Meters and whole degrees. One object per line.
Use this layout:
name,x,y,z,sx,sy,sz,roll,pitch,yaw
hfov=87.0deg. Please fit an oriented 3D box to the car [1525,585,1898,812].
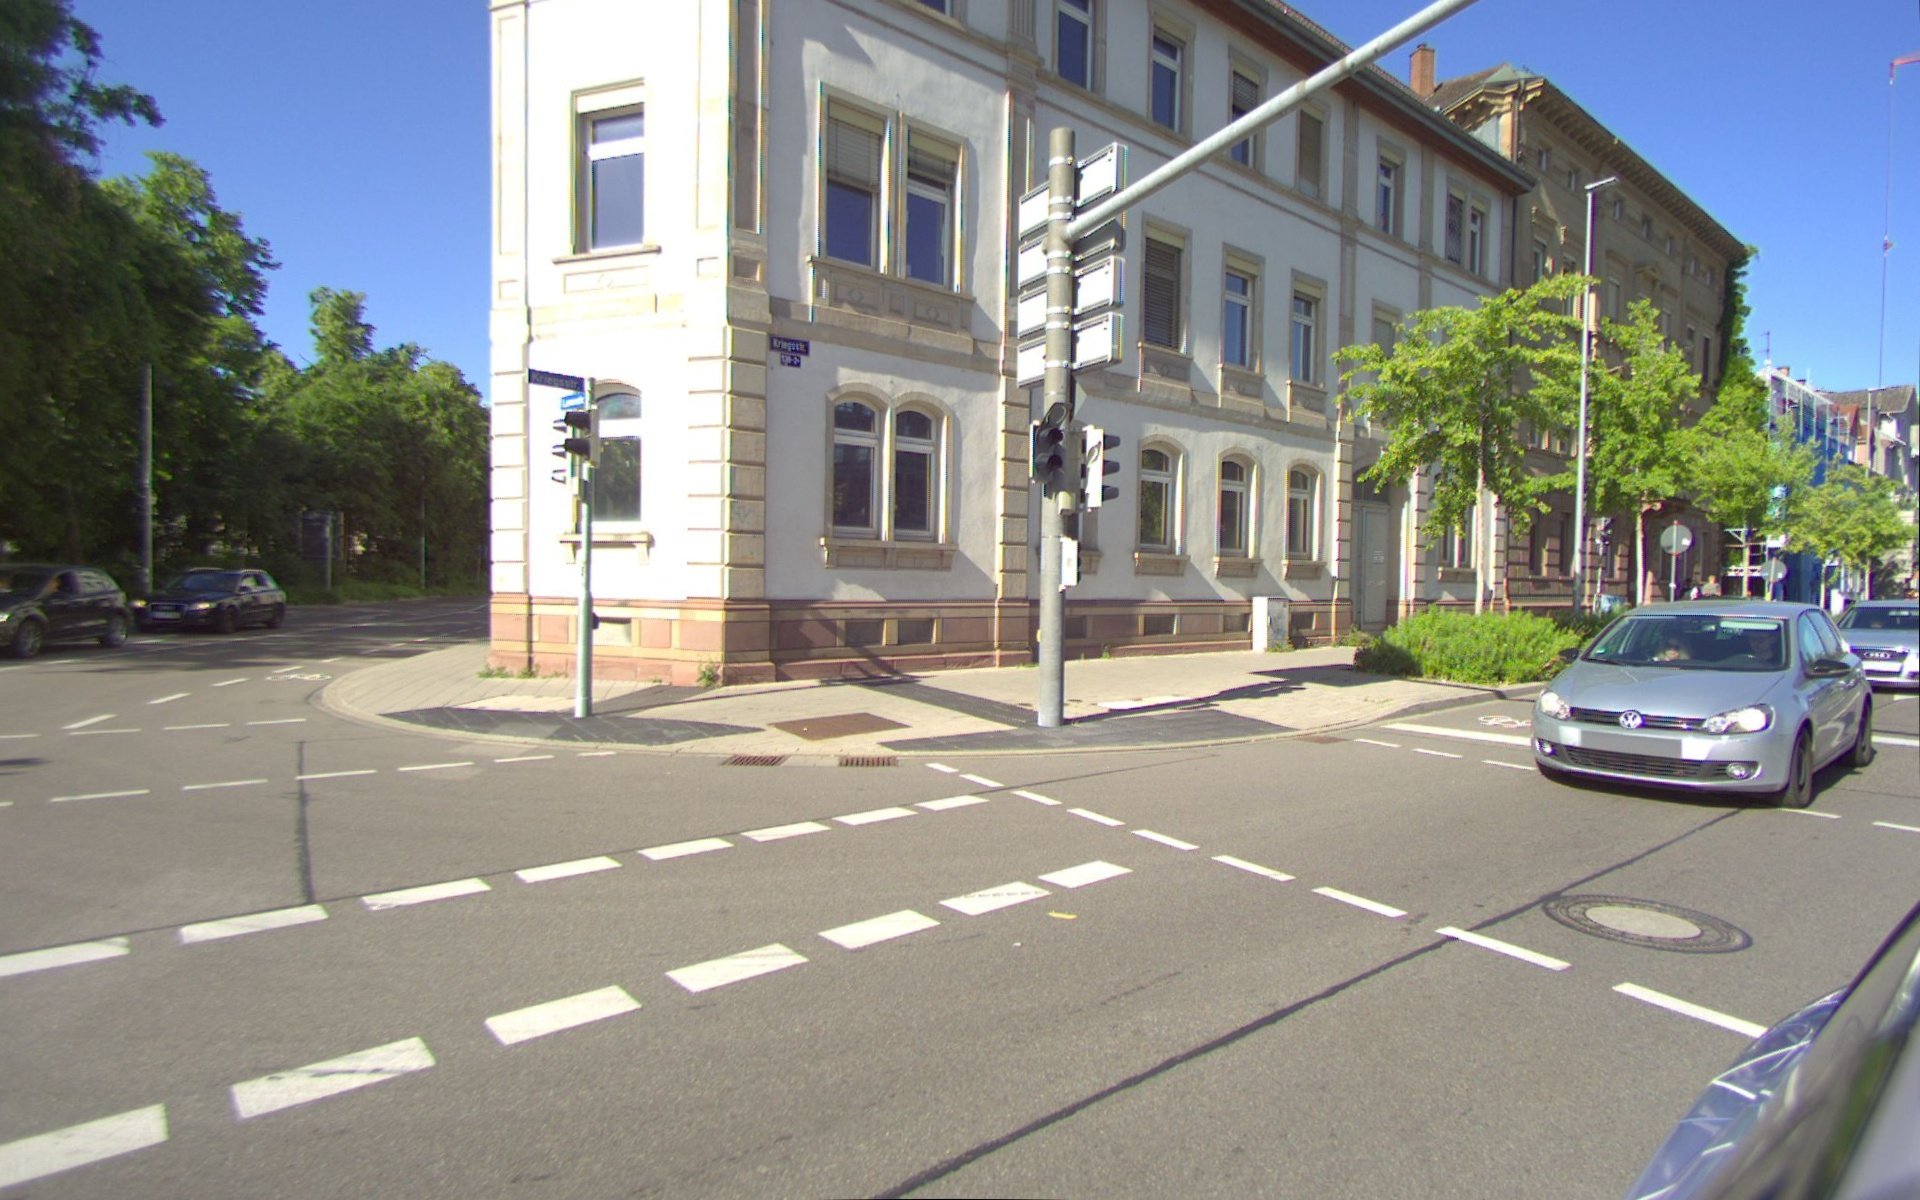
car,6.516,0.628,8.619,3.929,1.493,1.702,-1,1,-40

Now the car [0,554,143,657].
car,-15.439,0.016,16.601,1.696,1.501,4.009,3,0,-16

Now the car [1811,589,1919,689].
car,15.208,0.547,16.165,3.929,1.442,1.838,-1,1,-40

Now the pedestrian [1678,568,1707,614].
pedestrian,25.850,-0.313,35.710,0.891,1.581,0.668,0,0,-41

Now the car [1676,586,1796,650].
car,19.882,0.399,25.876,3.929,1.461,1.609,-1,2,-40

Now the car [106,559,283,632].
car,-17.315,-0.126,23.150,1.821,1.457,4.009,2,1,-15

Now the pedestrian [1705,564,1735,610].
pedestrian,26.417,-0.464,35.182,0.891,1.581,0.668,0,0,-41
